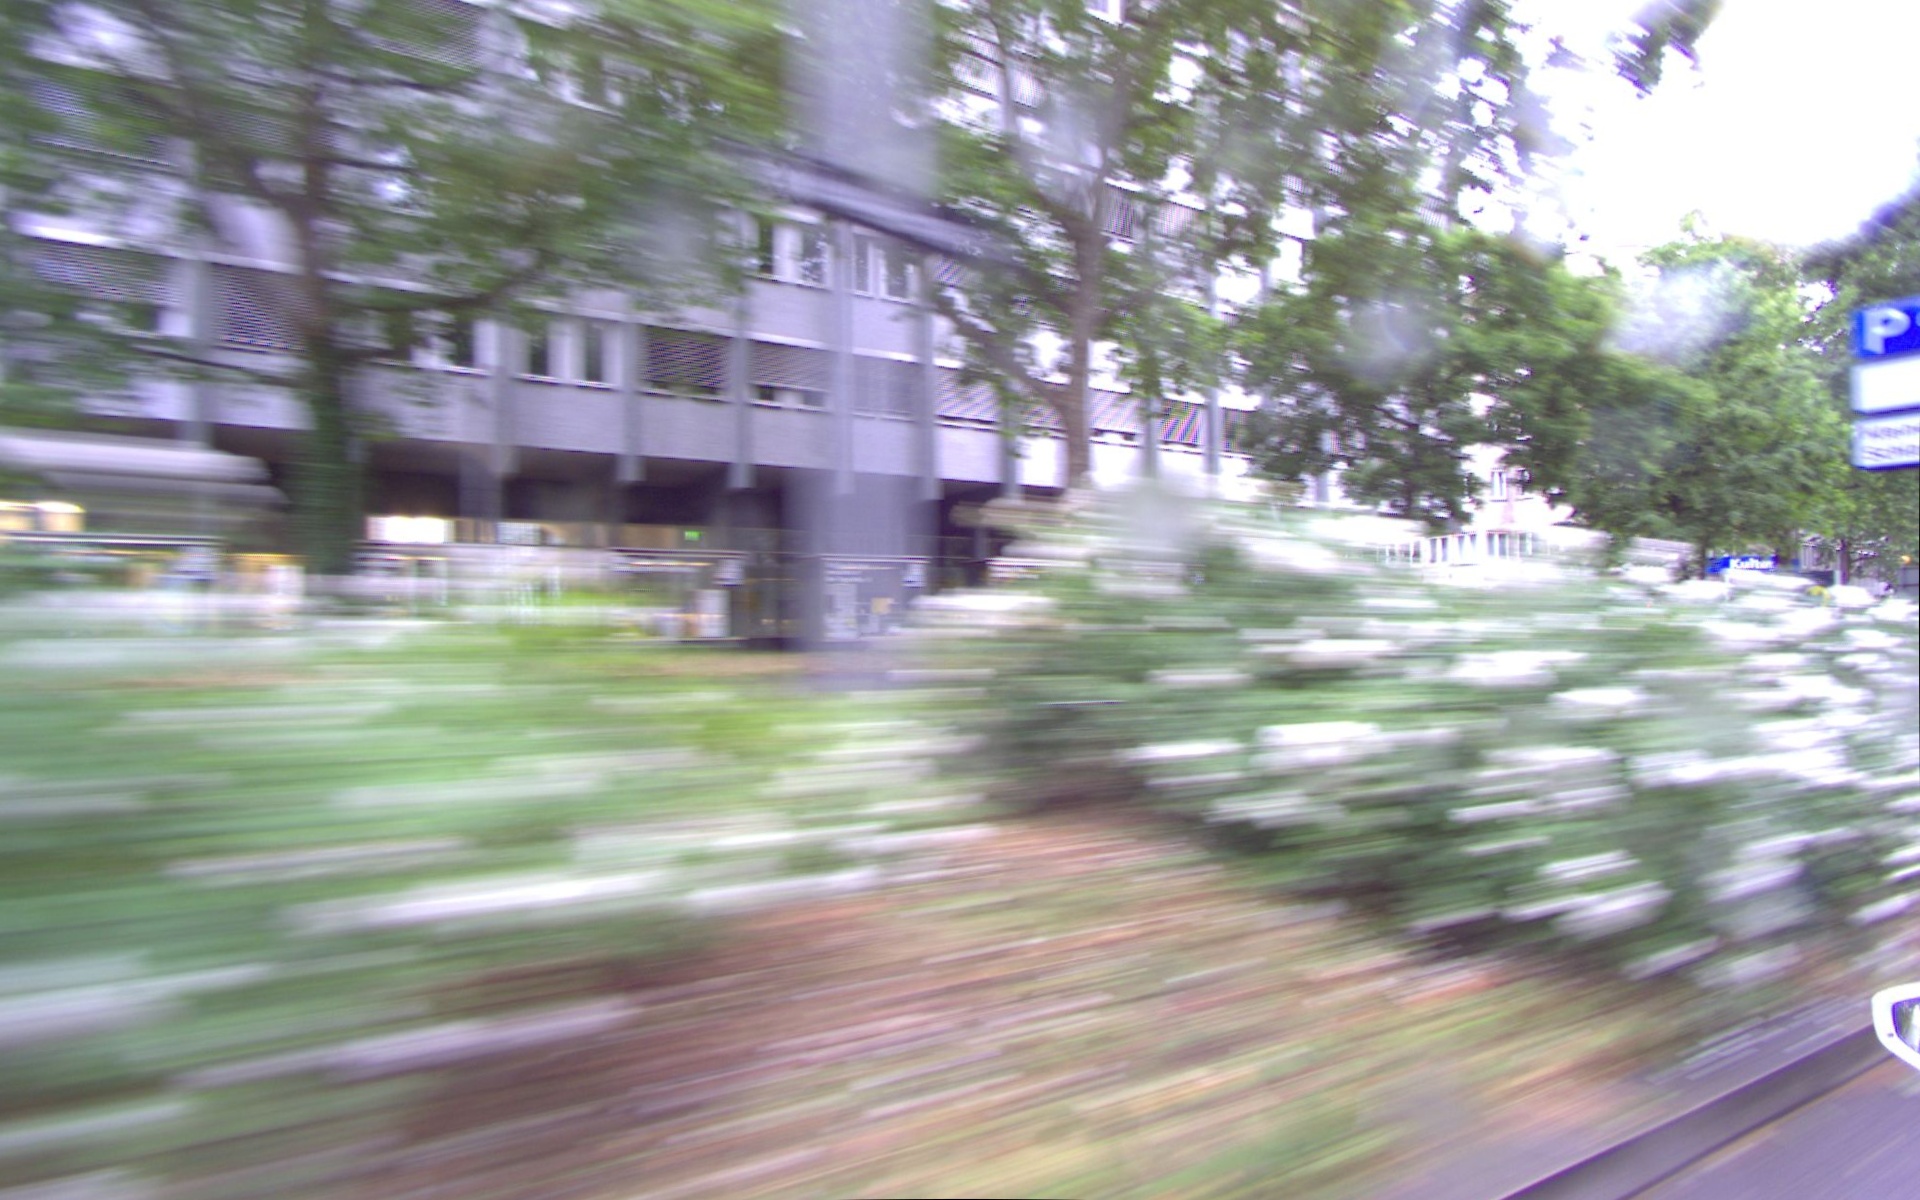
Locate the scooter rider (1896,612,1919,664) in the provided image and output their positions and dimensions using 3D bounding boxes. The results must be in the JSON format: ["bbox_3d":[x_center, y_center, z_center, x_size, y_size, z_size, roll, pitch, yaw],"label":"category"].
[{"bbox_3d":[36.431,1.450,38.334,0.749,1.966,0.894,1,-1,-33],"label":"scooter rider"}]
